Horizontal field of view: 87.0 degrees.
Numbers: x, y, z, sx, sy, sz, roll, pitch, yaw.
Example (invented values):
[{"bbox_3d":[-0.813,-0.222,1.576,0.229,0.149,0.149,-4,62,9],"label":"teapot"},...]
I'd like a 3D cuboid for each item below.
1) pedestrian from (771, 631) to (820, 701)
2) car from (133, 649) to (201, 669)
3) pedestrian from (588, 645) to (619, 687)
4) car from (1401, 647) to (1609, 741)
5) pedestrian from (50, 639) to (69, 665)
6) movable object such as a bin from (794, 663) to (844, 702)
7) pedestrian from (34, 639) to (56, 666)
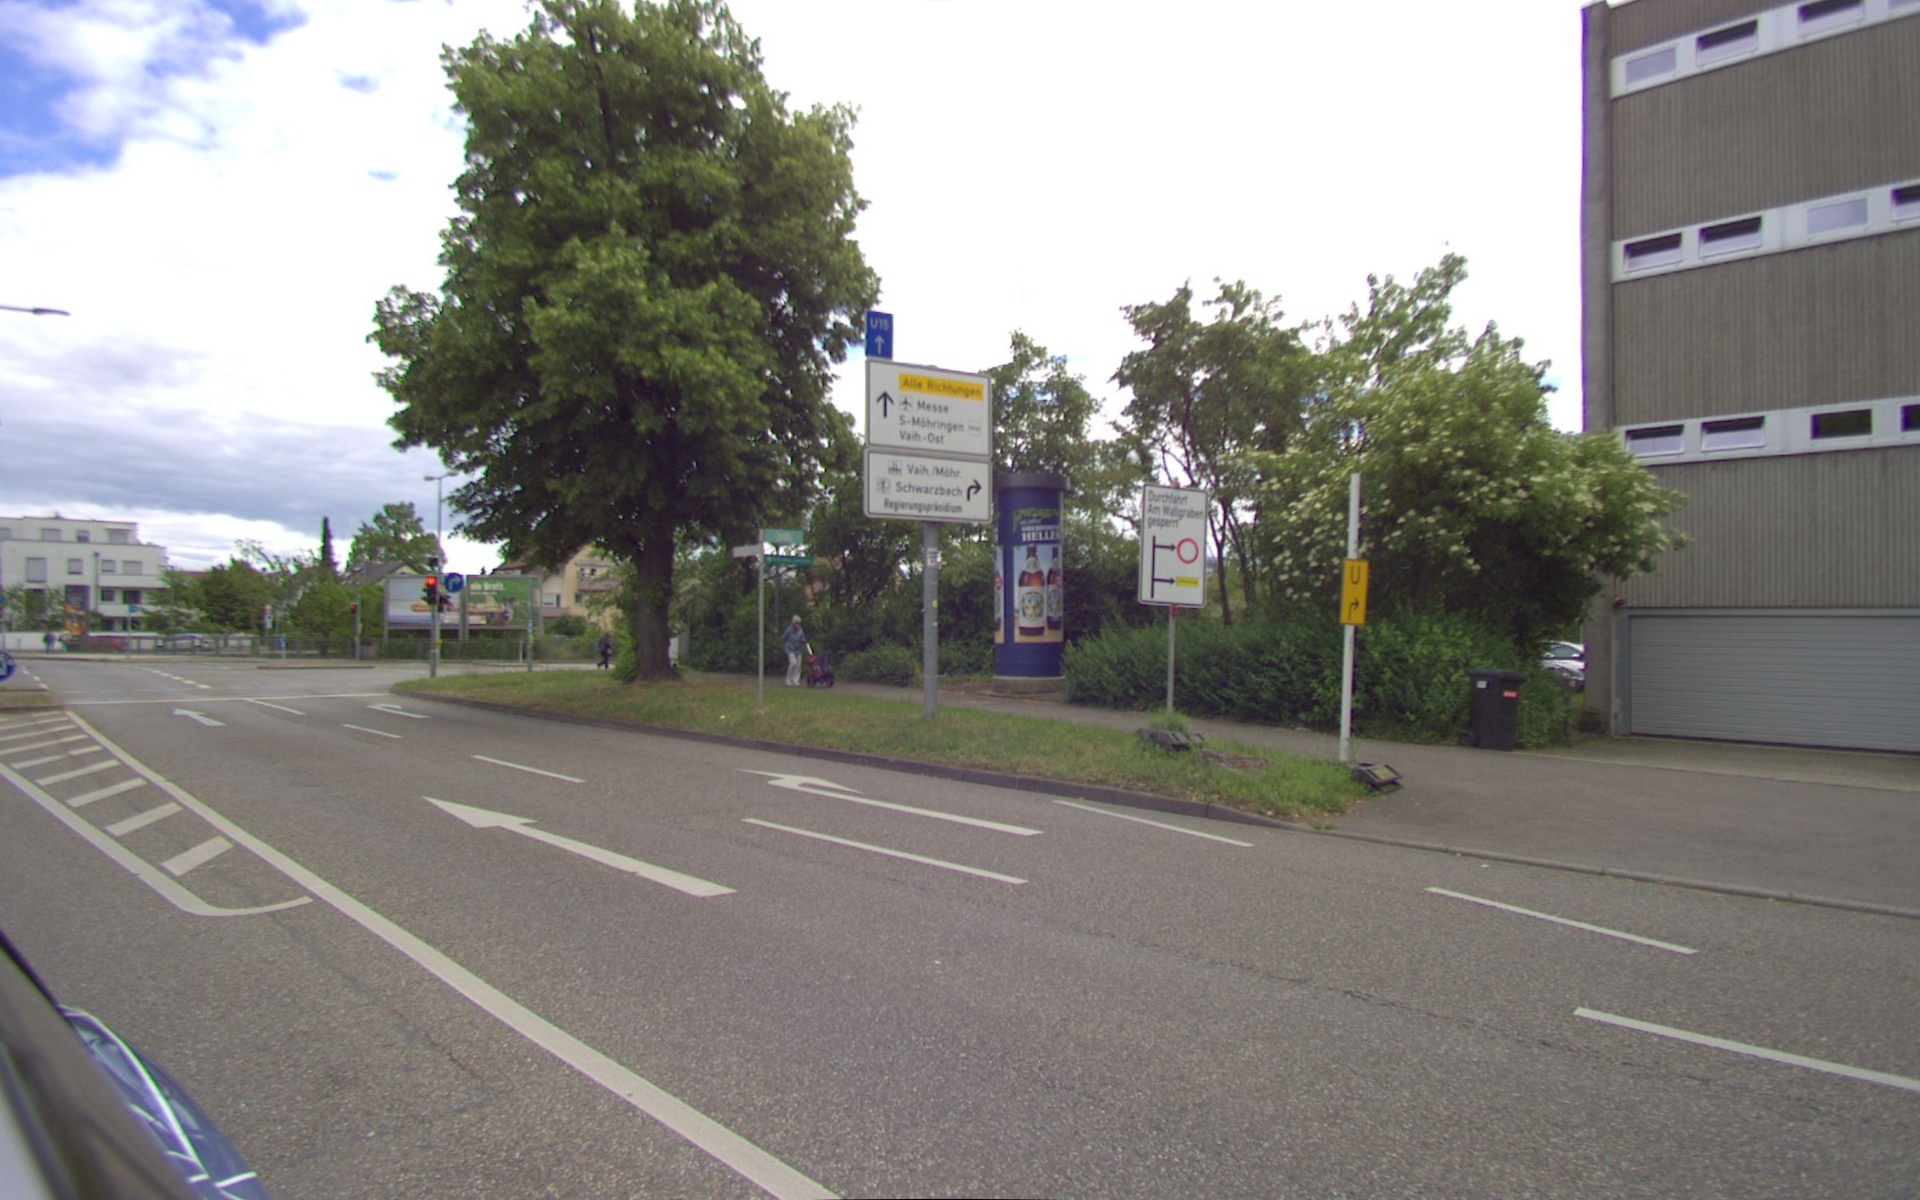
[{"bbox_3d":[-3.721,1.481,22.855,0.922,1.534,0.649,-2,-3,39],"label":"pedestrian"},{"bbox_3d":[-65.162,4.893,83.229,4.061,1.547,1.651,2,-4,-13],"label":"car"},{"bbox_3d":[-12.850,2.381,36.503,0.598,1.418,0.767,4,1,31],"label":"pedestrian"},{"bbox_3d":[12.900,2.134,24.073,3.999,2.029,1.972,-2,-3,42],"label":"car"},{"bbox_3d":[-56.597,3.262,63.619,0.828,1.646,0.652,-1,-1,26],"label":"pedestrian"},{"bbox_3d":[-3.107,1.810,22.323,0.896,0.804,0.649,-2,-3,39],"label":"movable object such as a bin"},{"bbox_3d":[-56.921,3.235,62.949,1.065,1.646,0.652,-1,-1,26],"label":"pedestrian"}]
